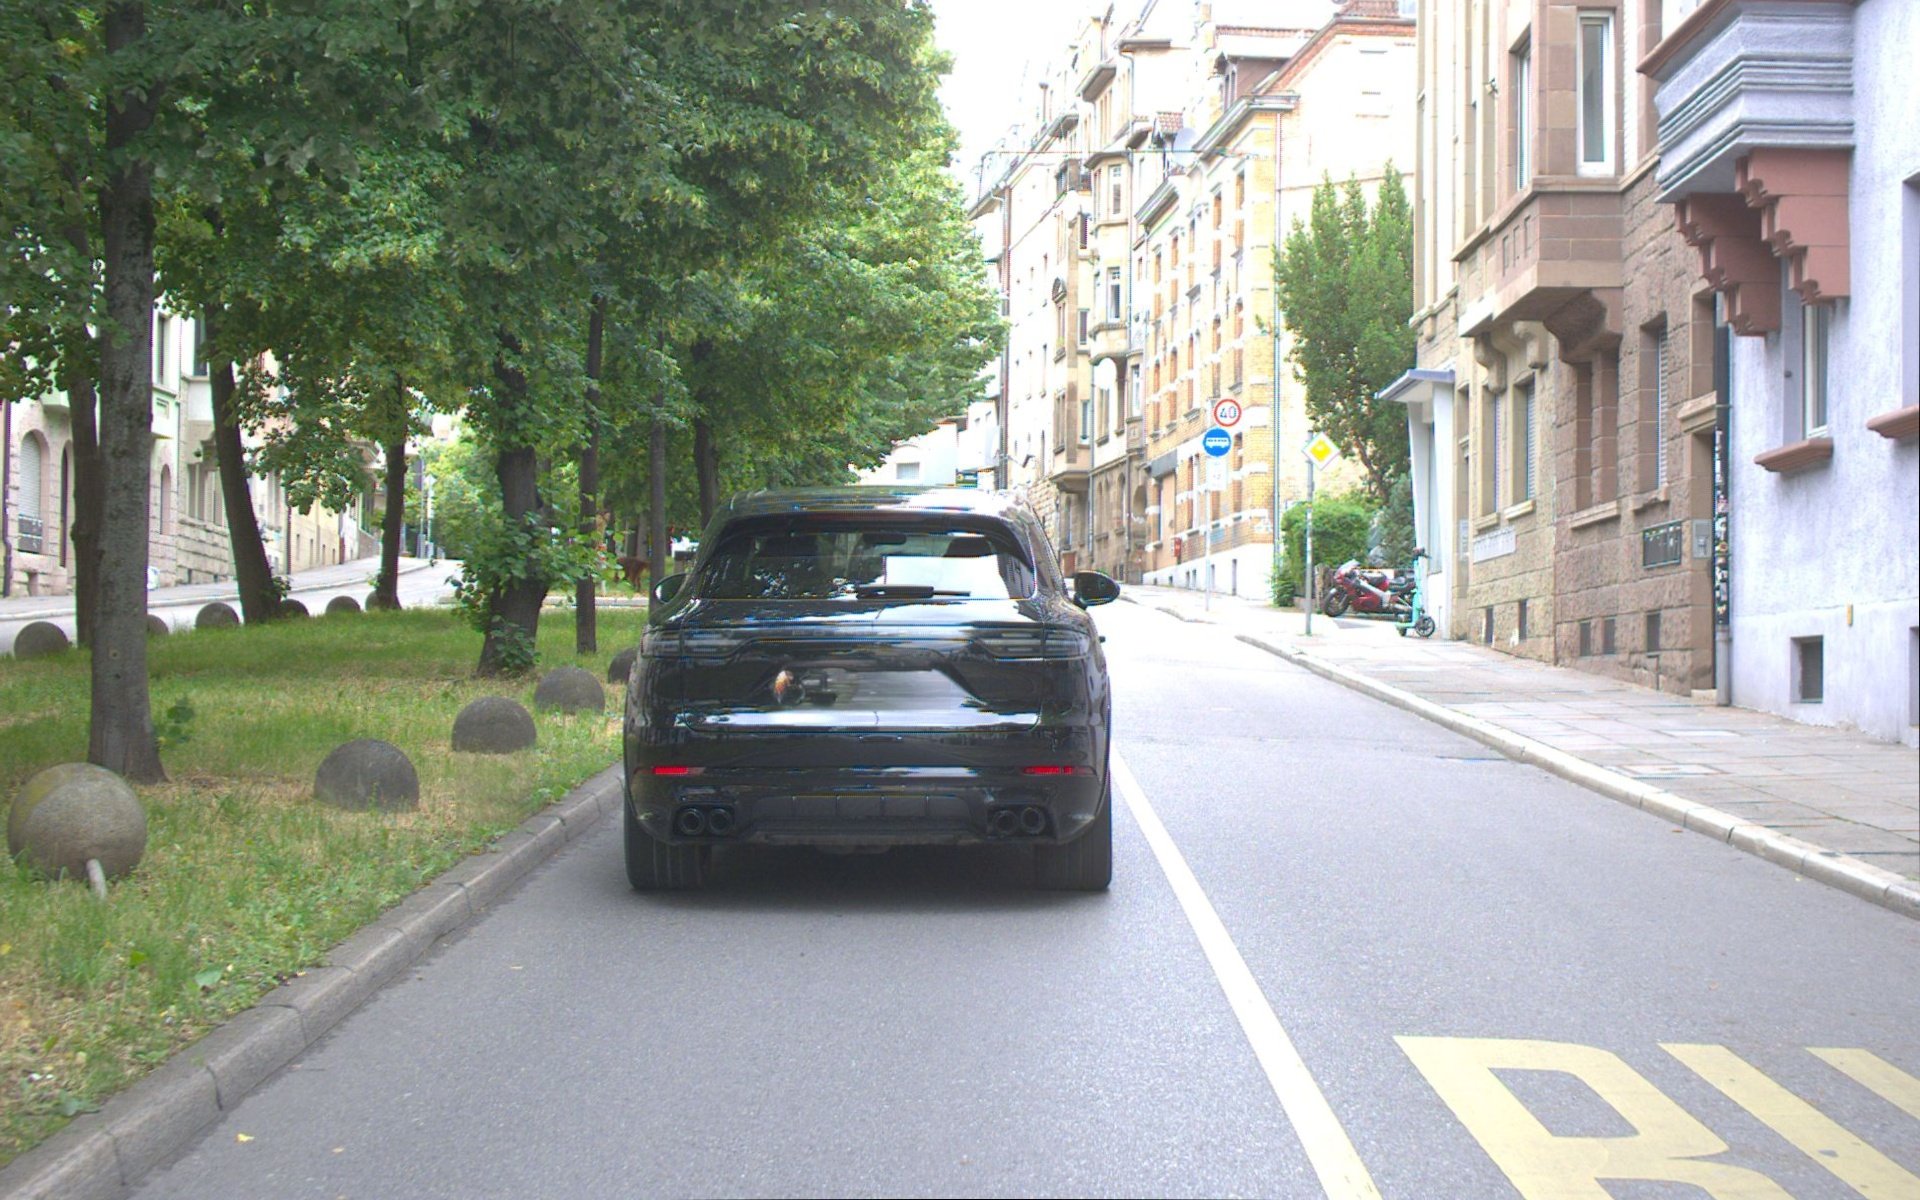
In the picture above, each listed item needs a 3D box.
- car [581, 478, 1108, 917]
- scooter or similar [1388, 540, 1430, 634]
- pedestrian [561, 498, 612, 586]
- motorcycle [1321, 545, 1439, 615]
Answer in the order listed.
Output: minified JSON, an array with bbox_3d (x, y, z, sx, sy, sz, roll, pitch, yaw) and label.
[{"bbox_3d":[-0.496,0.326,15.034,1.993,1.660,4.001,0,1,-2],"label":"car"},{"bbox_3d":[6.194,-0.186,47.451,0.410,1.206,1.145,-2,4,0],"label":"scooter or similar"},{"bbox_3d":[-7.546,-1.174,69.565,0.833,1.706,1.123,-3,-1,0],"label":"pedestrian"},{"bbox_3d":[8.031,-0.387,65.778,2.055,1.263,1.010,2,1,-4],"label":"motorcycle"}]
